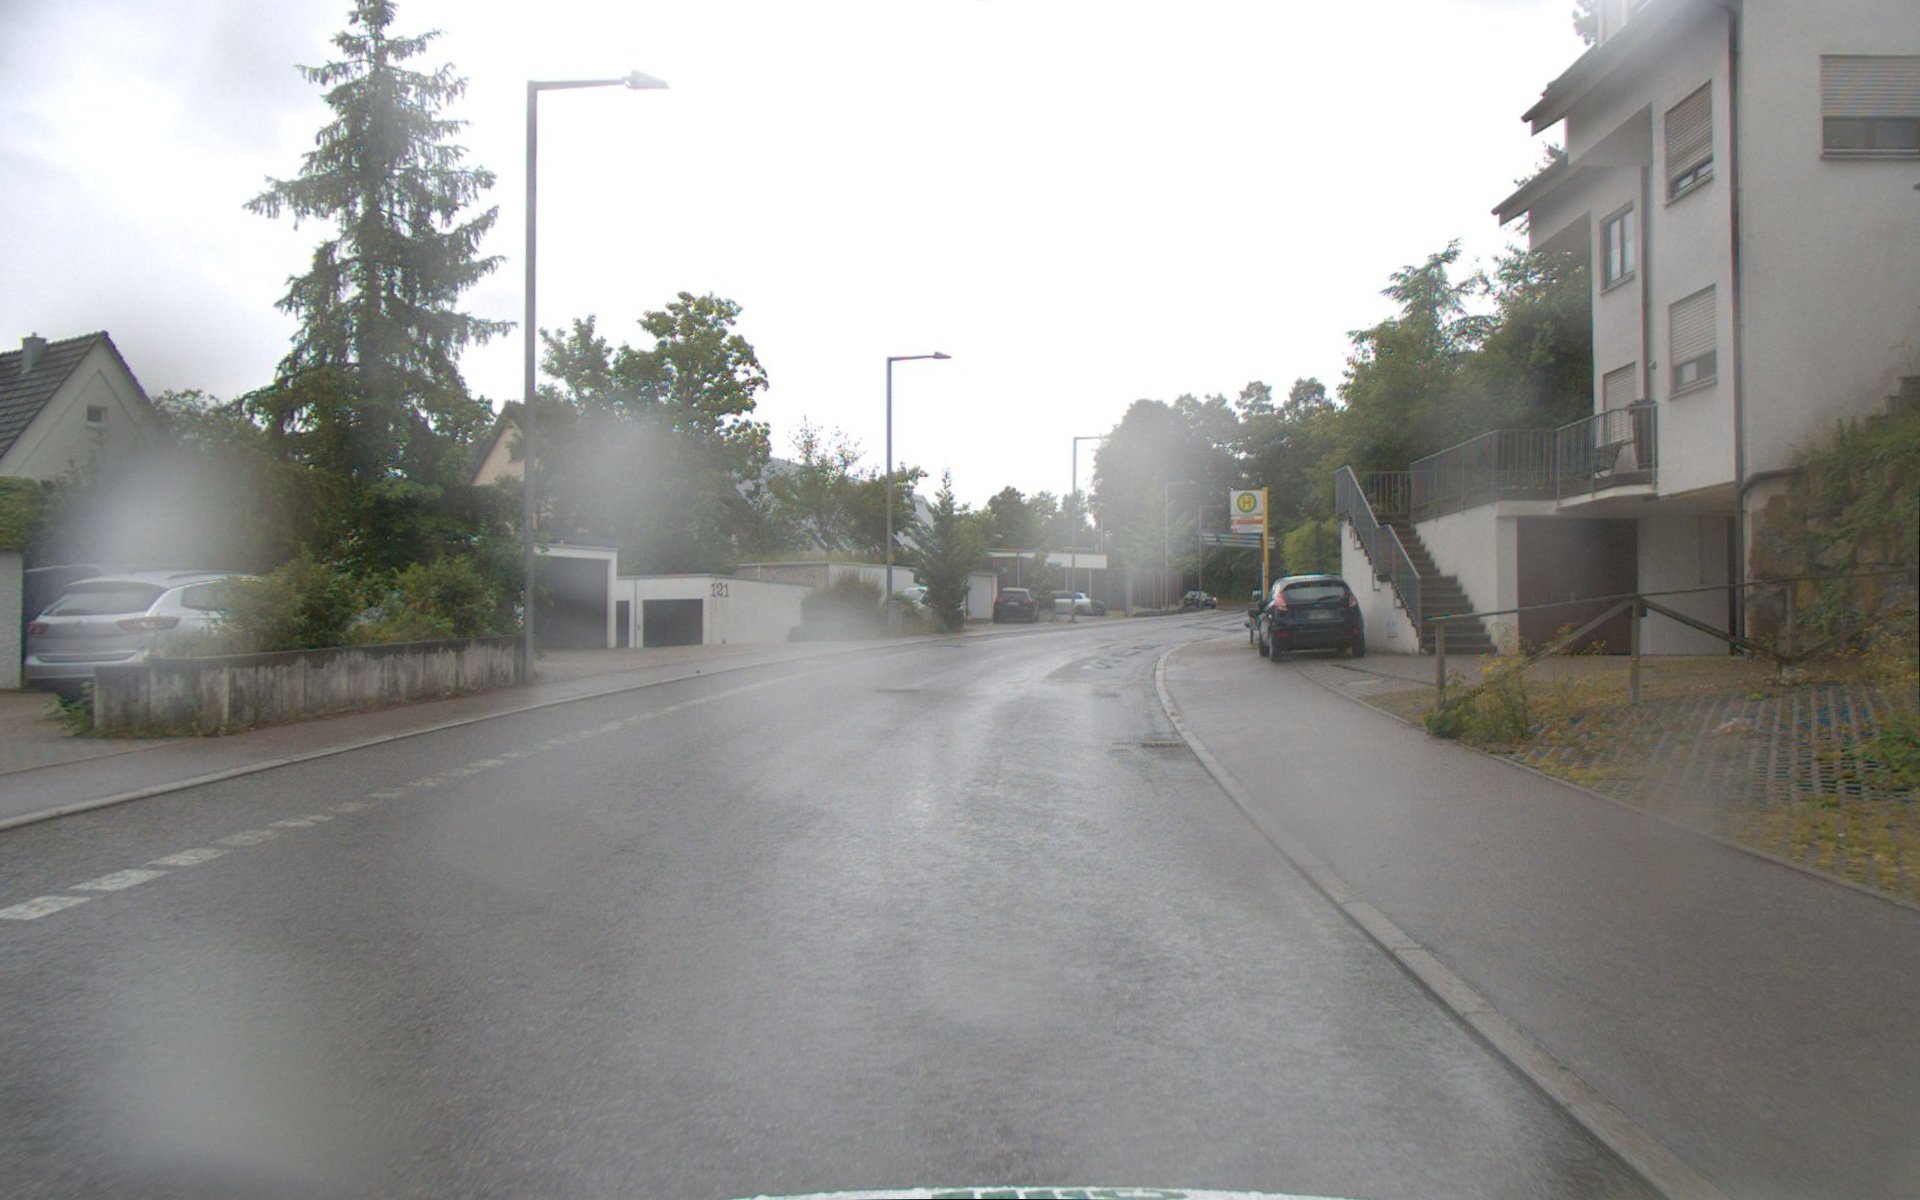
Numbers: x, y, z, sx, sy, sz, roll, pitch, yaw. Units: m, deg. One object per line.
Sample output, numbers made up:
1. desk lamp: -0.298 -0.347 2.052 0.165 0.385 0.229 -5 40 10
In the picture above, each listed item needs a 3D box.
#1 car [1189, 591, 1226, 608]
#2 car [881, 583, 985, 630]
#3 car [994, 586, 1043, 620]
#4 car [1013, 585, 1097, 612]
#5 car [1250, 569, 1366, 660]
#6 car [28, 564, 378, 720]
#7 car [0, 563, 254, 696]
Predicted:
1. car: 21.728 -0.048 145.243 1.821 1.495 3.683 0 0 -16
2. car: -0.908 0.198 58.474 1.673 1.580 4.381 0 0 30
3. car: 2.566 0.102 71.779 1.795 1.430 4.263 0 0 7
4. car: 5.403 -0.063 93.808 4.458 1.467 1.749 1 0 -23
5. car: 6.366 0.236 30.579 1.669 1.479 4.024 -3 0 7
6. car: -8.440 0.433 18.863 1.697 1.578 4.003 0 0 9
7. car: -12.773 0.422 25.263 3.921 1.870 1.992 -1 0 37
